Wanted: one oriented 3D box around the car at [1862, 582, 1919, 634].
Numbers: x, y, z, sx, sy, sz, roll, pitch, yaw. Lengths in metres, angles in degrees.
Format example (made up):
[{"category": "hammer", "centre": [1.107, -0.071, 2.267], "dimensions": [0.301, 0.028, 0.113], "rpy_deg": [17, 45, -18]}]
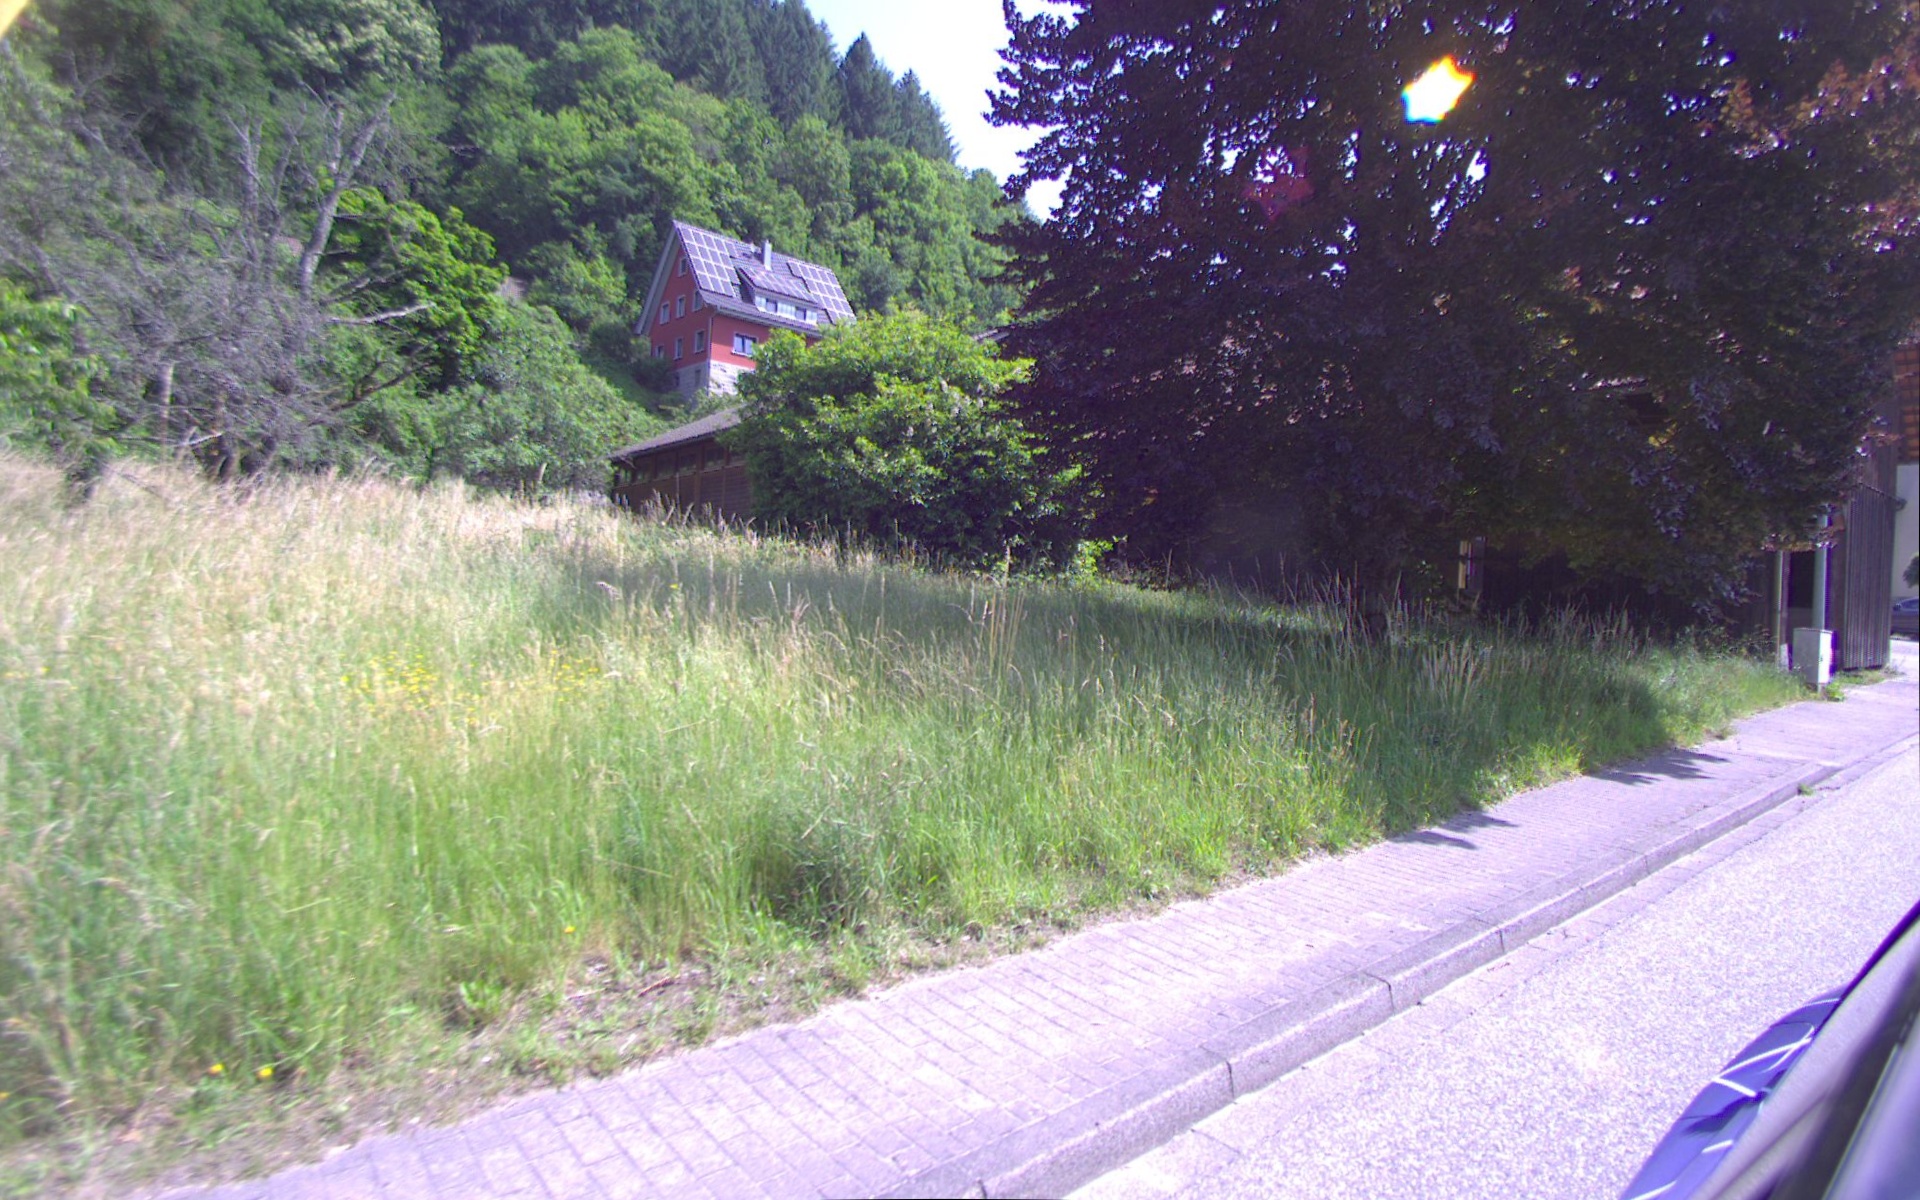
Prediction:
[{"category": "car", "centre": [34.894, 0.432, 35.618], "dimensions": [1.742, 1.706, 4.242], "rpy_deg": [1, 6, -33]}]
